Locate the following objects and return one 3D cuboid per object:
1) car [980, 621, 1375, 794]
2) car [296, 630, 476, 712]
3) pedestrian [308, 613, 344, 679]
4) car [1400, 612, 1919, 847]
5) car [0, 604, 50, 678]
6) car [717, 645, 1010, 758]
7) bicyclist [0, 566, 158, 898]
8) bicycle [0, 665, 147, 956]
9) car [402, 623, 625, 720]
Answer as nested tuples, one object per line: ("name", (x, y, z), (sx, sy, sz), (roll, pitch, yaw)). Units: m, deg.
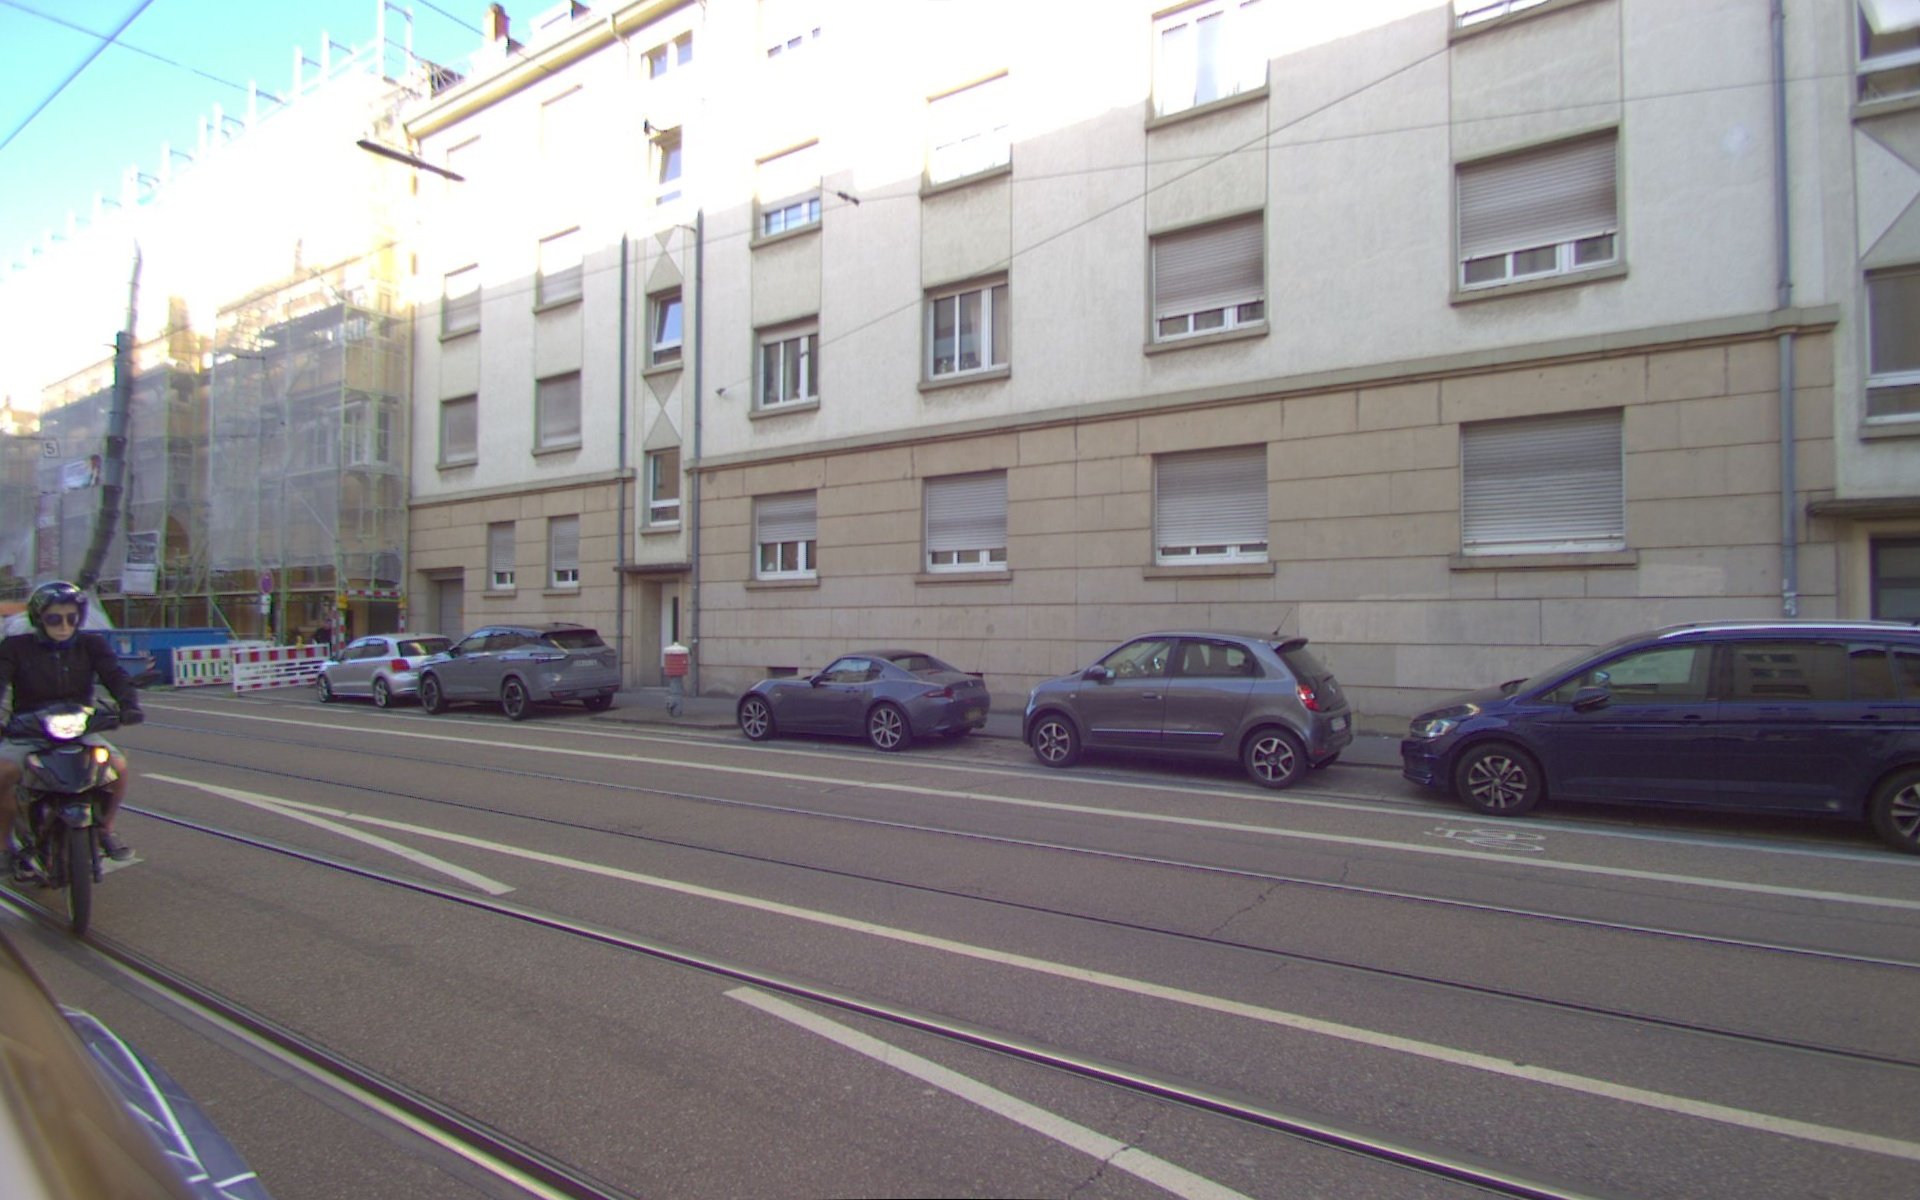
("car", (2.340, 1.044, 11.312), (3.990, 1.581, 1.685), (-1, 0, 35))
("car", (-12.035, 1.409, 21.147), (3.990, 1.426, 1.685), (-1, 1, 35))
("pedestrian", (-16.901, 1.219, 26.970), (0.715, 1.707, 0.575), (-1, -1, 34))
("car", (6.109, 0.930, 8.500), (4.230, 1.627, 1.686), (-1, 0, 32))
("car", (-34.793, 1.451, 36.103), (5.985, 2.488, 2.101), (-1, -3, 35))
("car", (-1.368, 1.291, 13.854), (3.774, 1.225, 1.686), (-1, 0, 33))
("bicyclist", (-4.694, 0.639, 5.209), (0.830, 1.566, 0.851), (2, -3, -38))
("bicycle", (-4.644, 0.948, 5.129), (0.729, 1.186, 1.978), (2, -3, -37))
("car", (-8.208, 1.238, 18.475), (4.395, 1.580, 1.685), (-1, -3, 35))
